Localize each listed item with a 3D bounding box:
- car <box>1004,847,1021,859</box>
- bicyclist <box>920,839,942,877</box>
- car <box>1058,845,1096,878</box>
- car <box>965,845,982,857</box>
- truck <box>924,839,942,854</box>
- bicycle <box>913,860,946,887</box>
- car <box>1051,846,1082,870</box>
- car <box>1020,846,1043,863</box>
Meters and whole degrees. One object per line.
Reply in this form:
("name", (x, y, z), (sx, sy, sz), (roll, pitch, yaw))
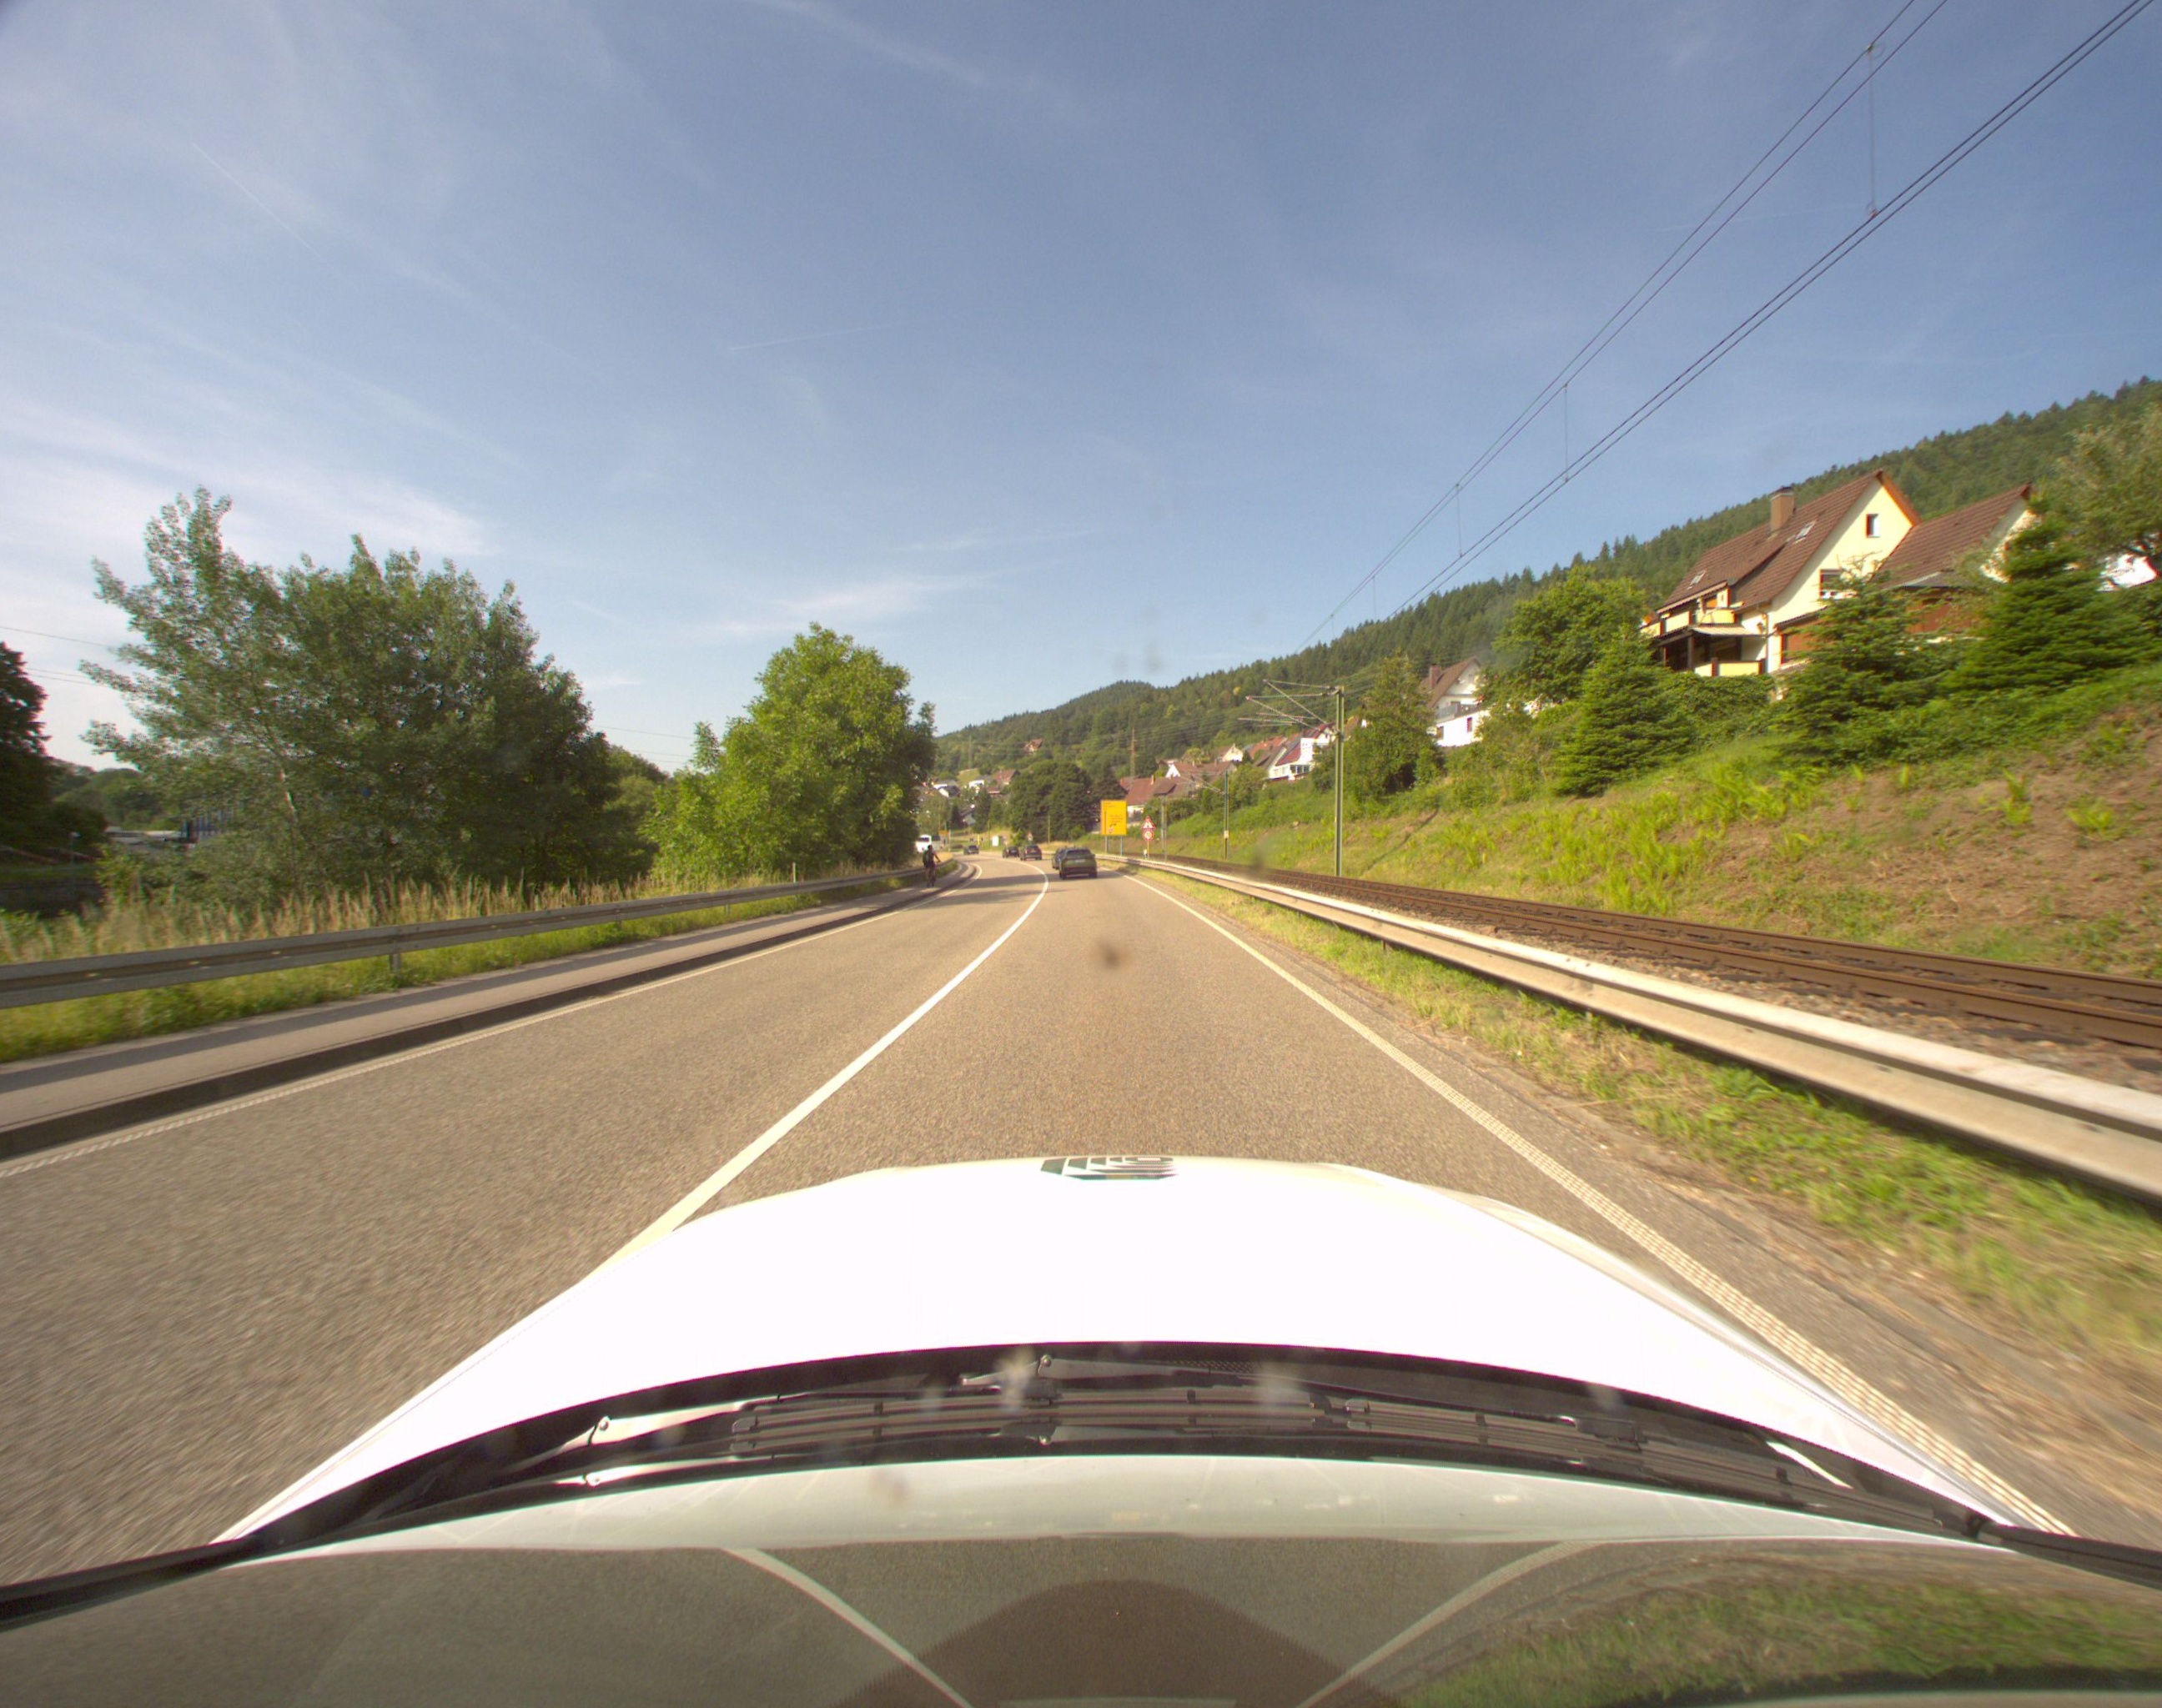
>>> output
("car", (-8.814, -0.112, 104.556), (1.849, 1.527, 3.650), (-2, 1, -10))
("bicyclist", (-6.360, 0.159, 34.508), (0.554, 1.586, 1.038), (2, 1, 10))
("car", (-0.244, 0.353, 40.340), (1.710, 1.455, 3.997), (-3, 0, -2))
("car", (-18.474, -0.504, 139.337), (2.070, 1.811, 3.974), (-2, 1, -19))
("truck", (-30.642, -1.561, 168.635), (2.720, 3.083, 6.069), (0, 1, -19))
("bicycle", (-6.412, 0.797, 34.515), (0.554, 1.045, 2.236), (2, 1, 11))
("car", (-1.005, 0.246, 54.689), (1.666, 1.559, 3.990), (-1, 0, -7))
("car", (-5.185, 0.015, 84.452), (1.881, 1.686, 3.985), (-1, 0, -11))
